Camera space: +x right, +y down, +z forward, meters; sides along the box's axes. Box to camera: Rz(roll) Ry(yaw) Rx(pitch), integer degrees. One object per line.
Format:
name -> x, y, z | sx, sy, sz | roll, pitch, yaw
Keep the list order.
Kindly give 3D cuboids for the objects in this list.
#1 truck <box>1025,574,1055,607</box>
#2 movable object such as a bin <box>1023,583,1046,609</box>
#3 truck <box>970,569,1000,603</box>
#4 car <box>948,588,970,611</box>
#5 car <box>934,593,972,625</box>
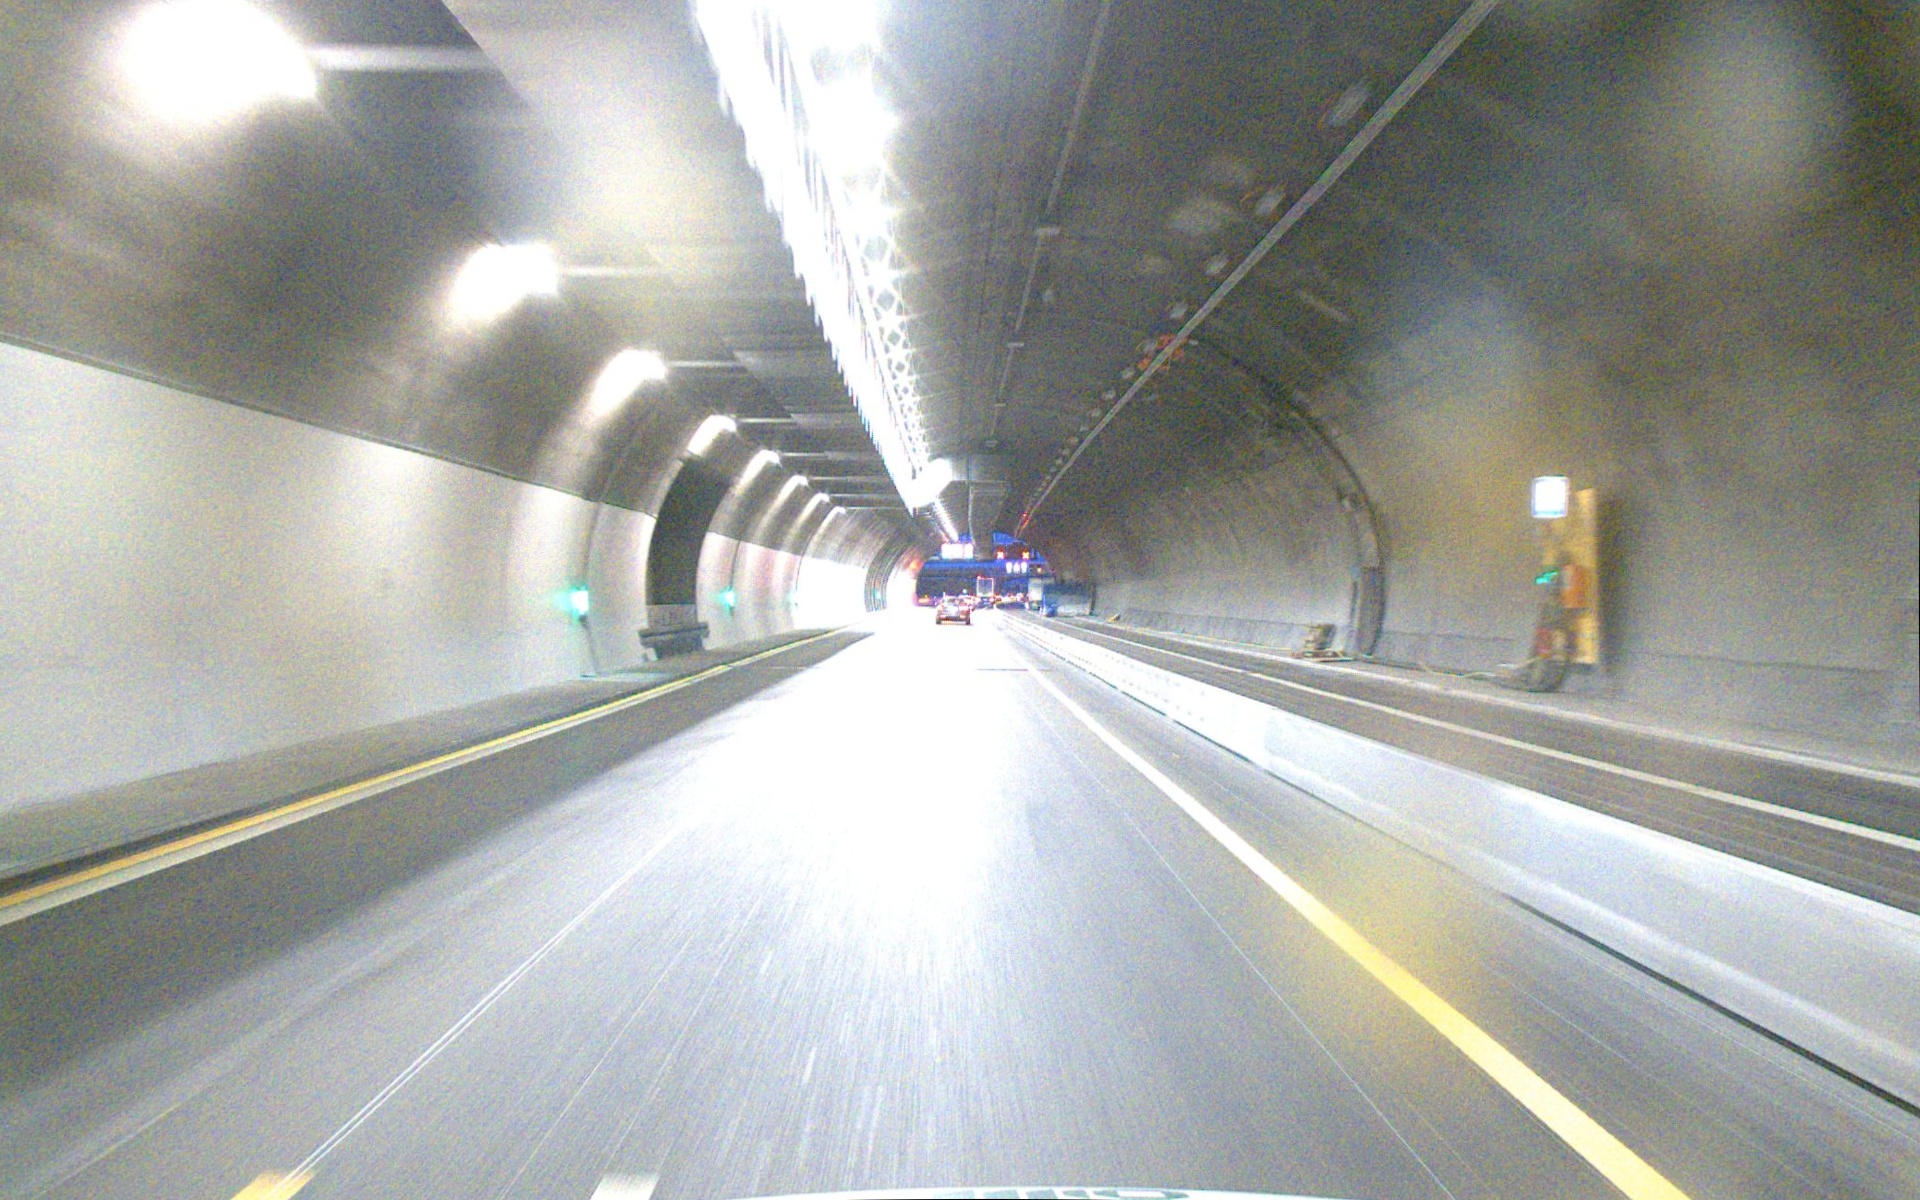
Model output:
truck -> 8.335, -0.988, 173.191 | 2.833, 3.329, 8.401 | 1, 0, 1
movable object such as a bin -> 8.144, -0.418, 181.517 | 2.192, 2.843, 7.233 | 1, 0, 1
truck -> 3.804, -2.087, 253.602 | 4.452, 5.074, 9.599 | 1, 0, 1
car -> -0.080, -0.058, 152.354 | 1.953, 2.049, 3.999 | 1, 0, -1
car -> -0.385, 0.462, 87.320 | 1.850, 1.635, 3.998 | 1, 0, -2
